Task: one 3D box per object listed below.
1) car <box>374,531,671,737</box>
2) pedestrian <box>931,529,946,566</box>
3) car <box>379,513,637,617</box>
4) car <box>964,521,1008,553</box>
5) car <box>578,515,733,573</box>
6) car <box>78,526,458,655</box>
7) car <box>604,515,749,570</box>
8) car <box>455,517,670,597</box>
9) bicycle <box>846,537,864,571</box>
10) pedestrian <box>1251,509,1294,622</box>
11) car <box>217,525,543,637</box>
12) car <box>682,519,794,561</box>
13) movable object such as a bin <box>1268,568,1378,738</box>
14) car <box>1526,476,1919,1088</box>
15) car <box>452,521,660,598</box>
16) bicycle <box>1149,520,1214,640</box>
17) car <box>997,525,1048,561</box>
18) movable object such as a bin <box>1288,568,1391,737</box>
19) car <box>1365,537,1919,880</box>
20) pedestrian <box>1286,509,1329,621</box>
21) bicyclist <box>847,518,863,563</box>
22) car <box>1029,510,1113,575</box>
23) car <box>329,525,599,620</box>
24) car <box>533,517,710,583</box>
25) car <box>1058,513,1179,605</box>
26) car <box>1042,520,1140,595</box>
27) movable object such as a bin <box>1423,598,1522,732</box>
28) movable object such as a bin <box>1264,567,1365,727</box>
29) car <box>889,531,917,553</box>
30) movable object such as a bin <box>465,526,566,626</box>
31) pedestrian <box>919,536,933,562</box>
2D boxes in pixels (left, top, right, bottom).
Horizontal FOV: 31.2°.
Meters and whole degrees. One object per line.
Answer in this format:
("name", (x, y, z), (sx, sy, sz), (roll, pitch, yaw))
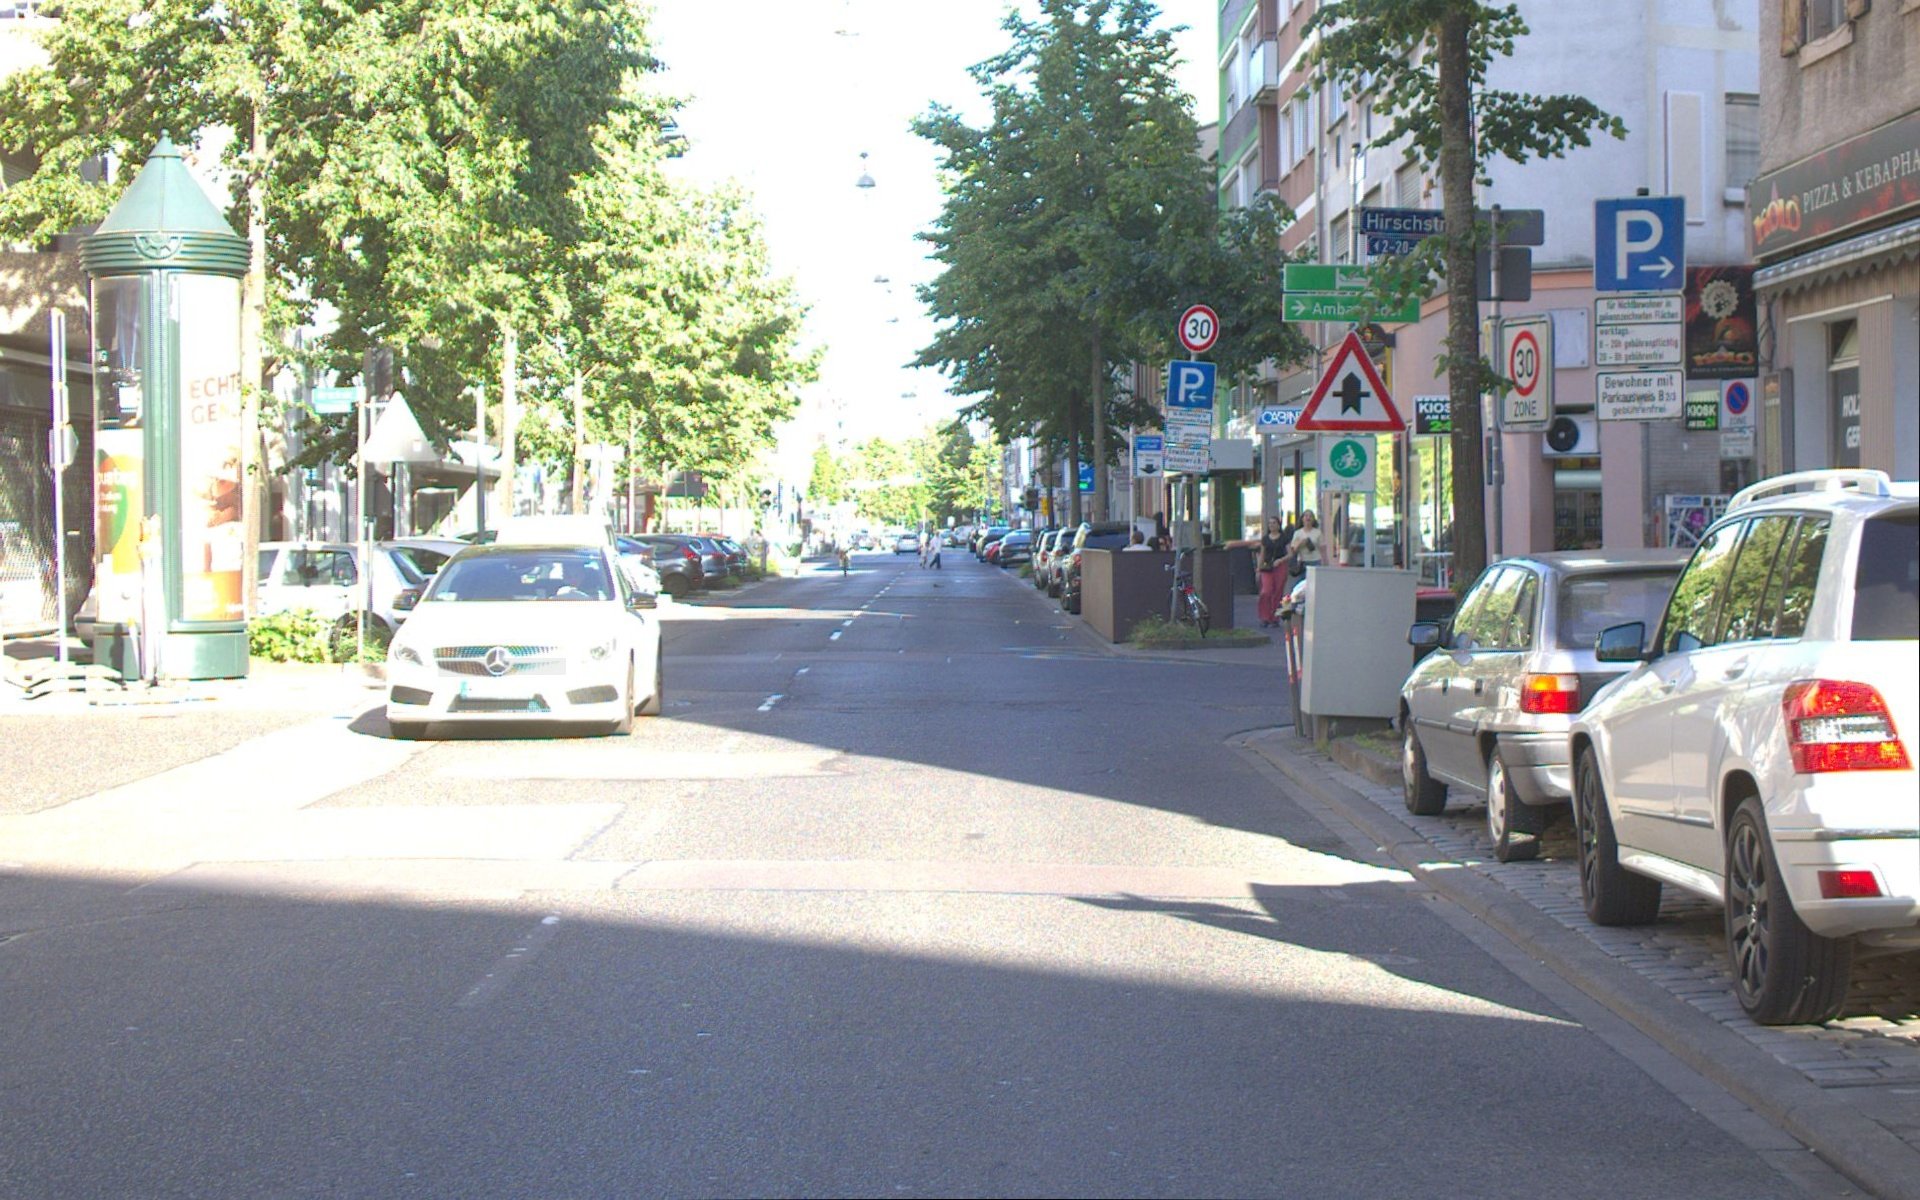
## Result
("car", (-3.277, 0.194, 26.515), (1.802, 1.430, 4.410), (-1, 1, -1))
("pedestrian", (-0.862, -2.130, 138.849), (0.545, 1.467, 0.546), (-1, 1, -2))
("car", (-7.653, -0.603, 58.465), (3.987, 1.688, 2.000), (-1, 2, 5))
("car", (1.236, -3.004, 164.107), (1.993, 1.503, 4.000), (0, 1, -1))
("car", (-8.122, -1.508, 91.997), (3.987, 1.494, 2.000), (-1, 2, -1))
("car", (-7.946, -0.129, 39.770), (3.987, 1.385, 2.000), (-1, 2, -1))
("car", (-8.082, -1.644, 98.241), (3.987, 1.494, 2.000), (-1, 2, -1))
("car", (-7.740, -0.851, 67.279), (3.987, 1.494, 2.000), (-1, 2, -1))
("bicycle", (-3.626, -1.593, 118.941), (0.560, 1.176, 1.628), (0, 1, 0))
("pedestrian", (4.572, -0.511, 50.309), (0.547, 1.644, 0.664), (-1, 1, -2))
("car", (-7.640, -0.263, 45.555), (3.987, 1.385, 2.000), (-1, 2, -1))
("car", (-8.120, -2.207, 126.189), (3.987, 1.494, 2.000), (-1, 2, -1))
("movable object such as a bin", (2.685, 0.387, 25.442), (0.705, 1.218, 0.681), (-1, 1, -2))
("car", (3.266, 0.415, 11.798), (1.822, 1.673, 4.601), (-3, 1, 0))
("car", (-8.149, -0.811, 69.560), (3.987, 1.495, 2.000), (-1, 0, -1))
("bicycle", (2.807, -0.264, 43.643), (0.560, 1.436, 1.628), (-6, 2, 0))
("car", (2.619, -2.378, 144.672), (1.993, 1.503, 4.000), (0, 1, -1))
("movable object such as a bin", (2.711, 0.368, 24.603), (0.621, 1.175, 0.712), (-1, 1, -2))
("car", (3.258, 0.431, 17.119), (1.822, 1.386, 4.301), (-3, 1, -1))
("pedestrian", (5.144, -0.522, 50.934), (0.547, 1.644, 0.664), (-1, 1, 0))
("bicyclist", (-3.635, -2.064, 118.950), (0.560, 1.542, 0.728), (0, 0, 0))
("car", (2.861, -1.518, 89.310), (1.993, 1.604, 4.000), (-1, 2, 0))
("car", (-7.996, -0.455, 55.669), (3.987, 1.452, 1.868), (-1, 2, 5))
("car", (-7.977, -1.192, 81.229), (3.987, 1.494, 2.000), (-1, 2, -1))
("car", (2.878, -0.787, 63.304), (1.993, 1.604, 4.000), (-1, 2, 0))
("car", (2.894, -0.970, 76.680), (1.993, 1.604, 4.000), (-1, 2, 0))
("movable object such as a bin", (3.551, 0.445, 23.843), (0.562, 0.892, 0.628), (-1, 1, -2))
("movable object such as a bin", (2.694, 0.348, 26.183), (0.659, 1.175, 0.739), (-1, 1, -2))
("car", (-3.776, -3.828, 226.971), (1.792, 1.406, 4.000), (-1, 2, 0))
("movable object such as a bin", (-6.736, -0.378, 52.228), (1.334, 1.473, 1.480), (-1, 1, 0))
("pedestrian", (-1.377, -2.054, 138.669), (0.545, 1.023, 0.546), (-1, 1, -2))
